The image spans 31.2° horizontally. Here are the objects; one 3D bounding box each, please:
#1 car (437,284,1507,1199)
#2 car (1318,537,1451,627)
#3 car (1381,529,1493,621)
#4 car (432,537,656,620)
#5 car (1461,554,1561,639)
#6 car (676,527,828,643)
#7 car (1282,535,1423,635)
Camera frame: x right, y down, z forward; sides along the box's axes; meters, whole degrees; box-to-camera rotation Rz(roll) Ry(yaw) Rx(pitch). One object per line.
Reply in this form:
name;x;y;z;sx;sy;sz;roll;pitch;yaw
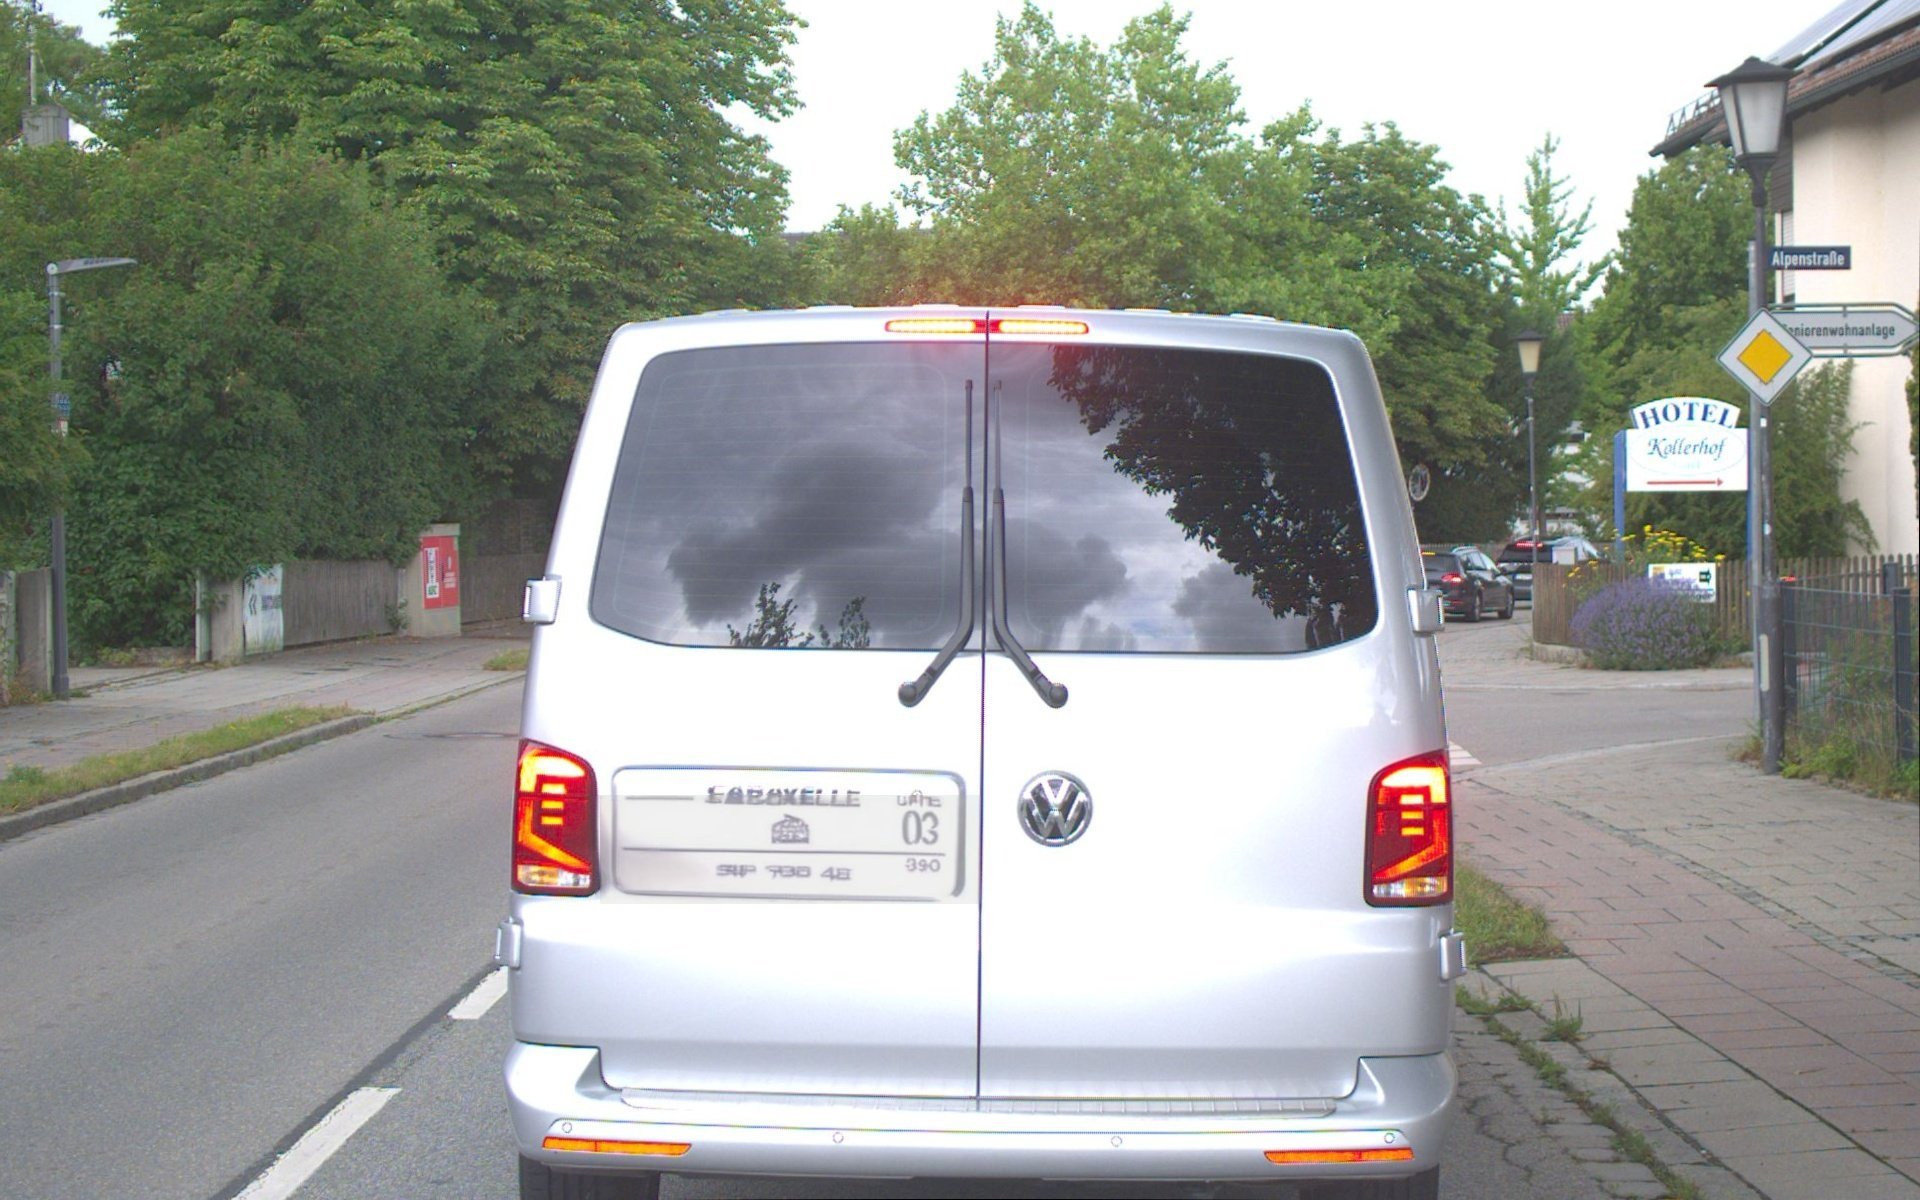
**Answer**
car;0.043;0.380;8.042;1.881;1.934;3.921;0;1;1
car;7.542;-0.344;60.766;1.882;1.530;3.918;0;1;14
car;9.425;-0.519;67.717;1.882;1.742;4.078;0;1;12
car;-7.585;-0.412;62.671;3.986;1.481;2.001;0;1;-8
car;12.244;-0.099;76.230;1.882;1.819;3.918;0;1;14
car;-2.961;-0.244;49.741;1.930;1.569;4.312;1;1;0
car;6.297;-0.258;54.840;1.882;1.530;3.919;0;1;12
